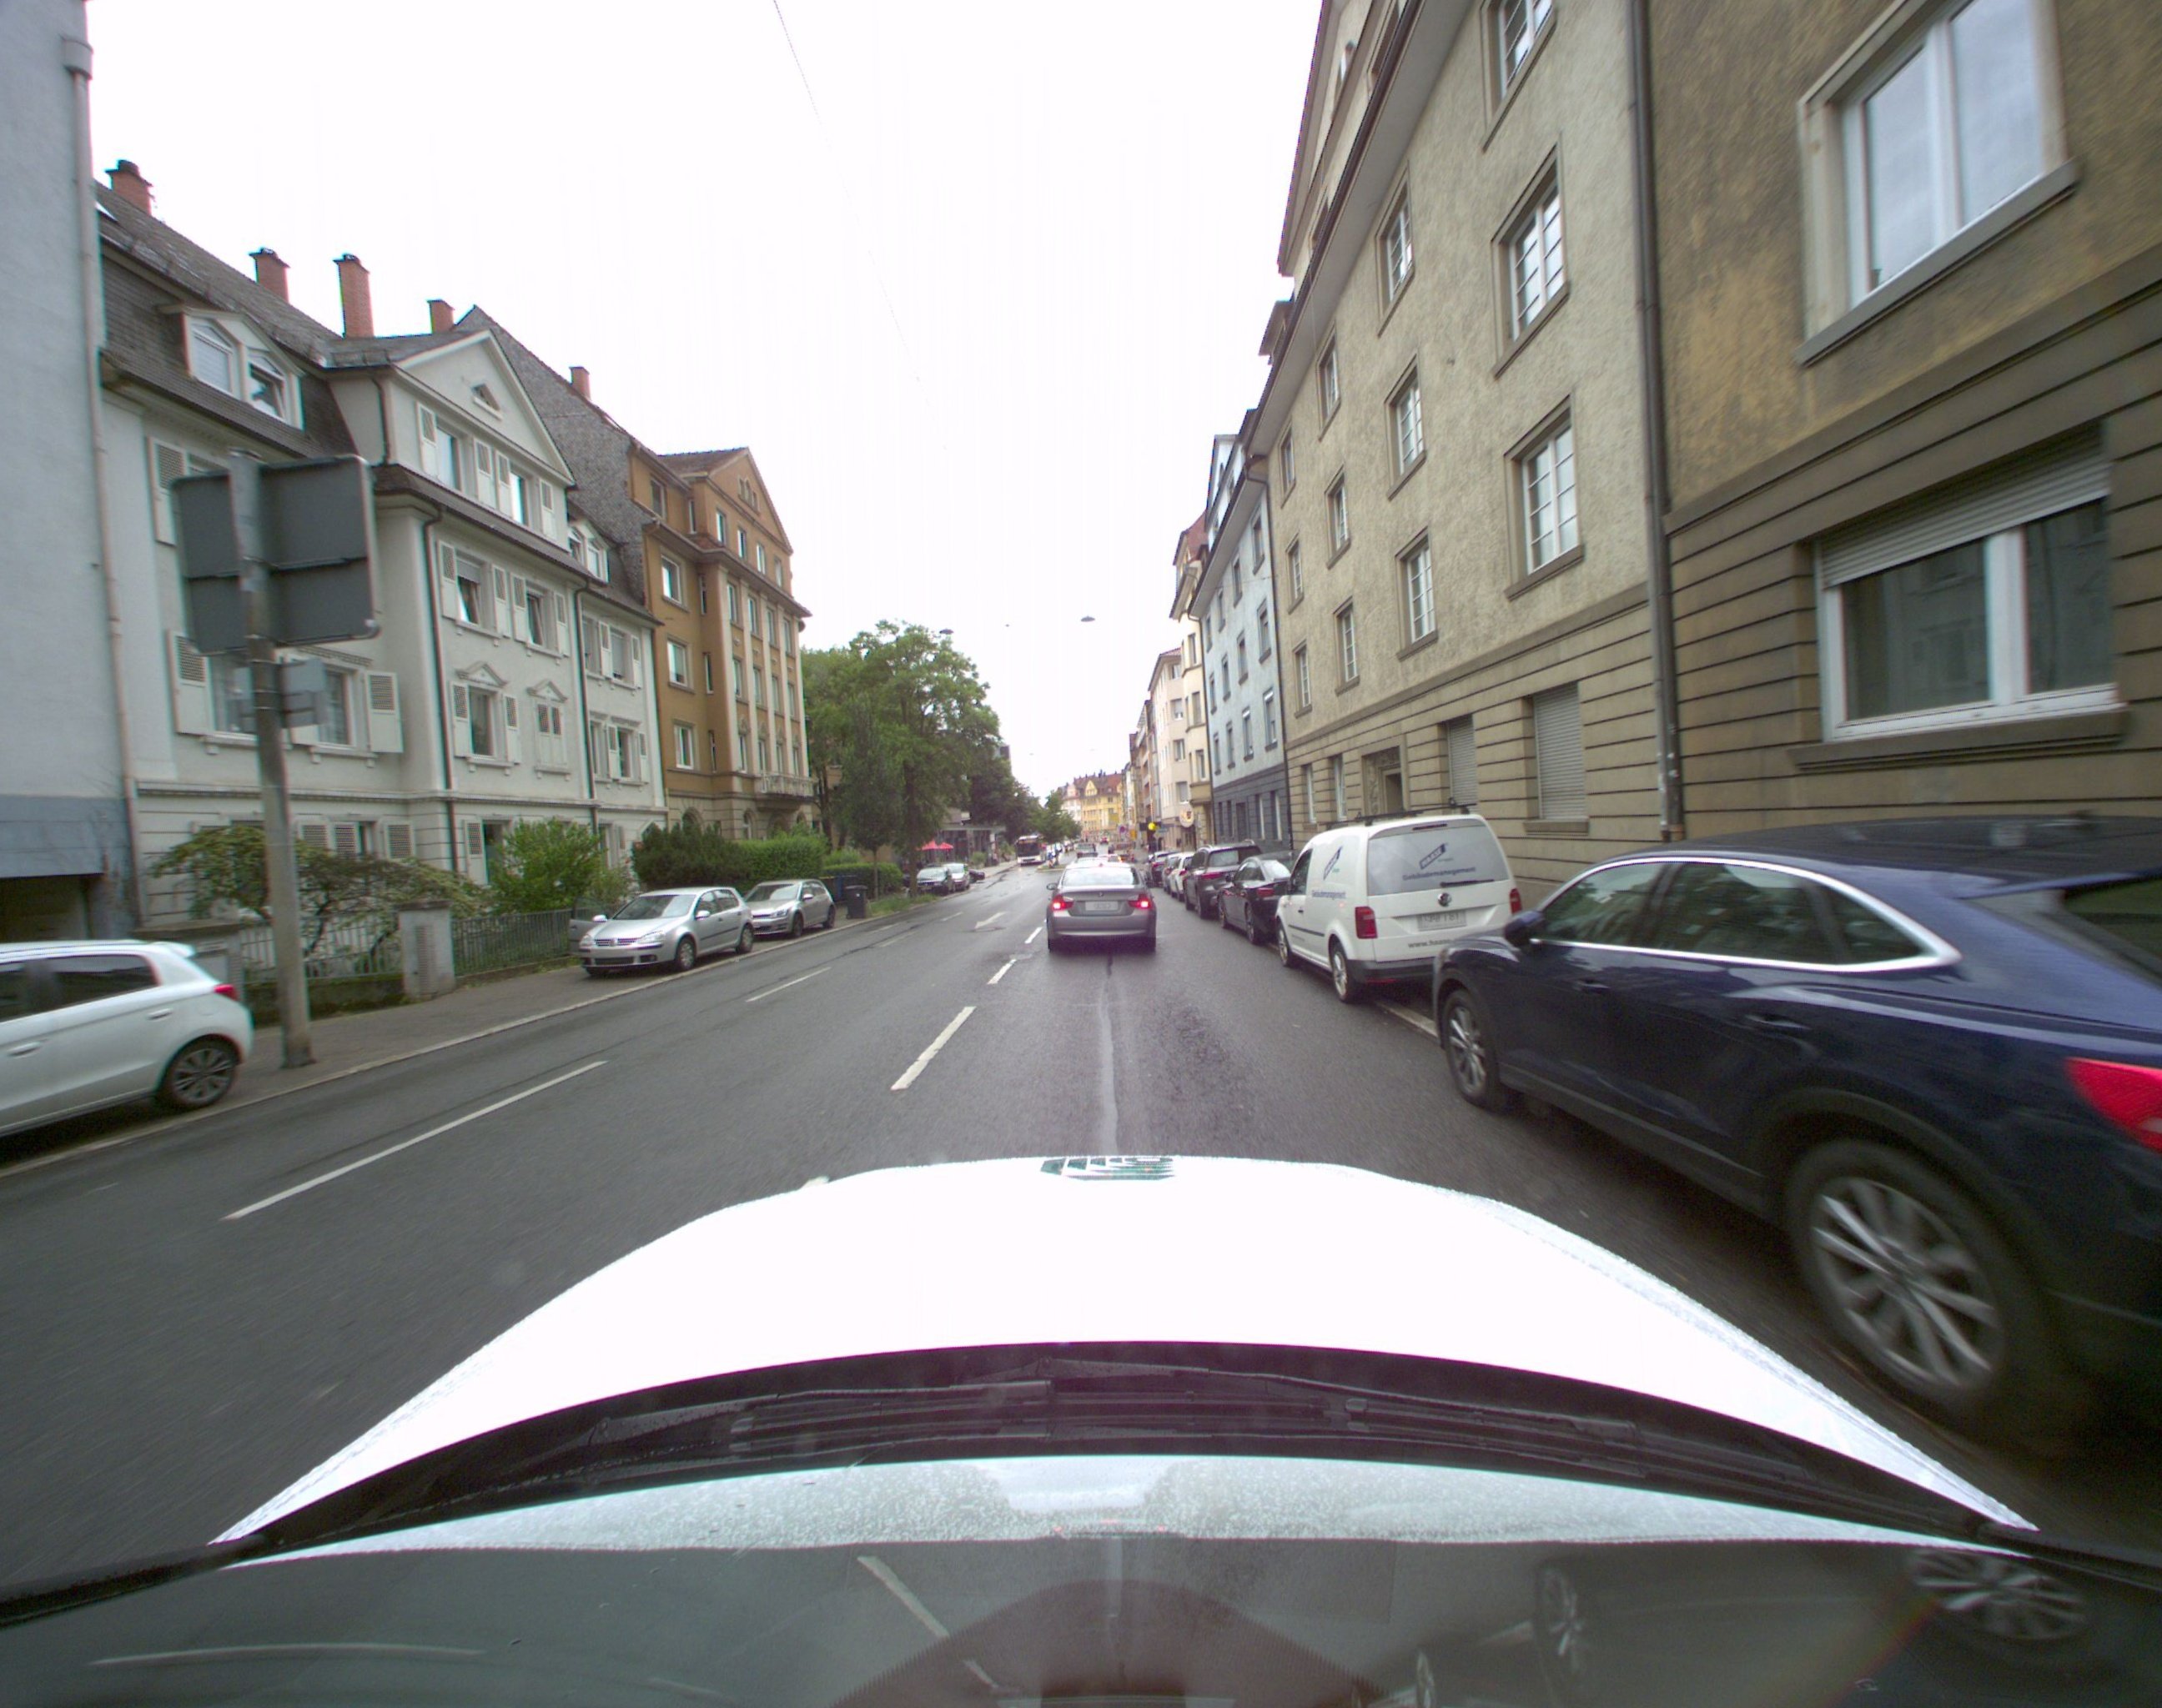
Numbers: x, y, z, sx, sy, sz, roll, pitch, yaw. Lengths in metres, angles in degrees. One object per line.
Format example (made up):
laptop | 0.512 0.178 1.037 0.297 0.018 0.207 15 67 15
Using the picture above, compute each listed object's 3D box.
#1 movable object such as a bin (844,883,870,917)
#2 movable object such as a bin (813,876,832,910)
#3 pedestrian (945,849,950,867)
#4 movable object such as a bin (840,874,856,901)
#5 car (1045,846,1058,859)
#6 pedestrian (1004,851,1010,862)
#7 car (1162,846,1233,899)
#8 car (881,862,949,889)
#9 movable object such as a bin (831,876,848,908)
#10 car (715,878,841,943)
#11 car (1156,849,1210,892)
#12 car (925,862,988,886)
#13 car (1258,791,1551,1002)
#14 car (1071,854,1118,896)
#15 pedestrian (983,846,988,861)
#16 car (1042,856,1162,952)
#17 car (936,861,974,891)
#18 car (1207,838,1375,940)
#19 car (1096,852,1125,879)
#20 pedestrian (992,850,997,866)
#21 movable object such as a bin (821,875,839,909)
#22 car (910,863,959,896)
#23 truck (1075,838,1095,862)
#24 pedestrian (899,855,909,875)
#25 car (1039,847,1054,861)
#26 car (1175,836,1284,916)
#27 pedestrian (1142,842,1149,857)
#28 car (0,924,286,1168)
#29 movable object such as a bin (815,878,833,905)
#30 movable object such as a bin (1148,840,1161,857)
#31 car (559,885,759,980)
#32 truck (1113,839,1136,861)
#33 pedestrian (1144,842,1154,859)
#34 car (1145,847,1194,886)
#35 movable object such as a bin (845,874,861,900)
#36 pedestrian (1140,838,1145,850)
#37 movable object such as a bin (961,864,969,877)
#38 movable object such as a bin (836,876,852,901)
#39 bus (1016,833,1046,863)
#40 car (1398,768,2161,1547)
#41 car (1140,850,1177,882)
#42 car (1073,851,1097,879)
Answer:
movable object such as a bin | -7.348 1.512 26.746 0.627 1.058 0.600 -4 -1 1
movable object such as a bin | -10.153 1.527 31.986 0.438 1.299 0.650 -4 0 0
pedestrian | -13.561 0.402 82.650 0.463 1.790 0.544 -1 -1 1
movable object such as a bin | -10.096 1.444 35.340 0.438 1.130 0.657 -3 0 0
car | -4.703 -0.275 130.781 1.987 2.014 3.999 -1 -1 0
pedestrian | -9.483 0.304 104.451 0.617 1.378 0.545 -1 -1 2
car | 3.740 0.563 26.801 1.723 1.429 3.974 -6 0 1
car | -10.454 1.361 51.421 3.799 1.389 1.744 -4 1 3
movable object such as a bin | -10.065 1.576 33.905 0.438 1.308 0.609 -4 0 0
car | -7.839 1.405 21.458 1.676 1.390 3.937 -2 0 2
car | 3.890 0.590 31.489 1.577 1.429 3.595 -6 0 1
car | -8.249 1.322 54.167 3.803 1.390 1.742 -2 -1 0
car | 3.453 0.390 9.622 1.784 1.817 4.081 -5 0 1
car | 0.446 0.758 29.718 1.597 1.420 3.286 -1 -1 -1
pedestrian | -10.833 -0.058 92.333 0.542 1.790 0.507 0 -1 -8
car | 0.347 0.770 13.710 1.749 1.362 3.165 -2 -1 1
car | -6.968 1.196 45.343 1.628 1.454 3.836 -3 0 -2
car | 3.614 0.549 14.872 1.835 1.409 4.387 -5 0 0
car | 1.536 0.596 41.860 1.430 1.356 3.764 -1 -1 3
pedestrian | -9.423 0.440 88.898 0.542 1.709 0.465 0 -1 -6
movable object such as a bin | -10.170 1.534 33.007 0.438 1.308 0.650 -4 0 0
car | -7.309 1.253 40.975 1.648 1.454 3.941 -3 0 0
truck | 0.496 -0.426 92.465 2.209 2.544 4.779 -1 -1 0
pedestrian | -16.713 1.070 76.767 0.638 1.816 0.631 -4 1 -36
car | -4.852 0.010 115.024 1.987 2.014 3.999 0 -1 0
car | 3.553 0.504 20.201 1.835 1.621 4.208 -5 -1 0
pedestrian | 7.189 -0.486 90.994 0.745 1.661 0.838 -1 -1 7
car | -8.135 1.407 5.554 1.640 1.508 3.796 -3 -1 0
movable object such as a bin | -10.180 1.482 32.231 0.438 1.039 0.650 -4 0 0
movable object such as a bin | 7.928 -0.607 88.191 1.119 1.702 1.433 -4 -1 -1
car | -7.919 1.402 15.743 1.676 1.390 3.911 -2 0 2
truck | 4.305 -0.336 81.103 2.206 2.117 4.655 0 0 3
pedestrian | 7.112 -0.362 85.415 0.755 1.661 0.746 0 -1 -35
car | 4.044 0.538 37.792 1.811 1.557 4.295 -5 0 2
movable object such as a bin | -10.079 1.457 36.020 0.438 1.081 0.590 -4 0 0
pedestrian | 8.326 -1.325 110.810 0.611 1.661 0.756 -1 -1 7
movable object such as a bin | -9.936 1.447 69.831 0.488 1.081 0.606 -4 -1 2
movable object such as a bin | -10.085 1.467 34.632 0.425 1.040 0.650 -4 0 0
bus | -5.681 -0.572 94.634 2.672 3.201 11.954 -1 -1 0
car | 3.061 0.540 3.479 1.784 1.548 4.227 -5 0 2
car | 4.082 0.605 43.315 1.563 1.464 4.090 -5 0 2
car | 0.287 0.801 61.300 1.700 2.014 3.998 0 -1 -1
